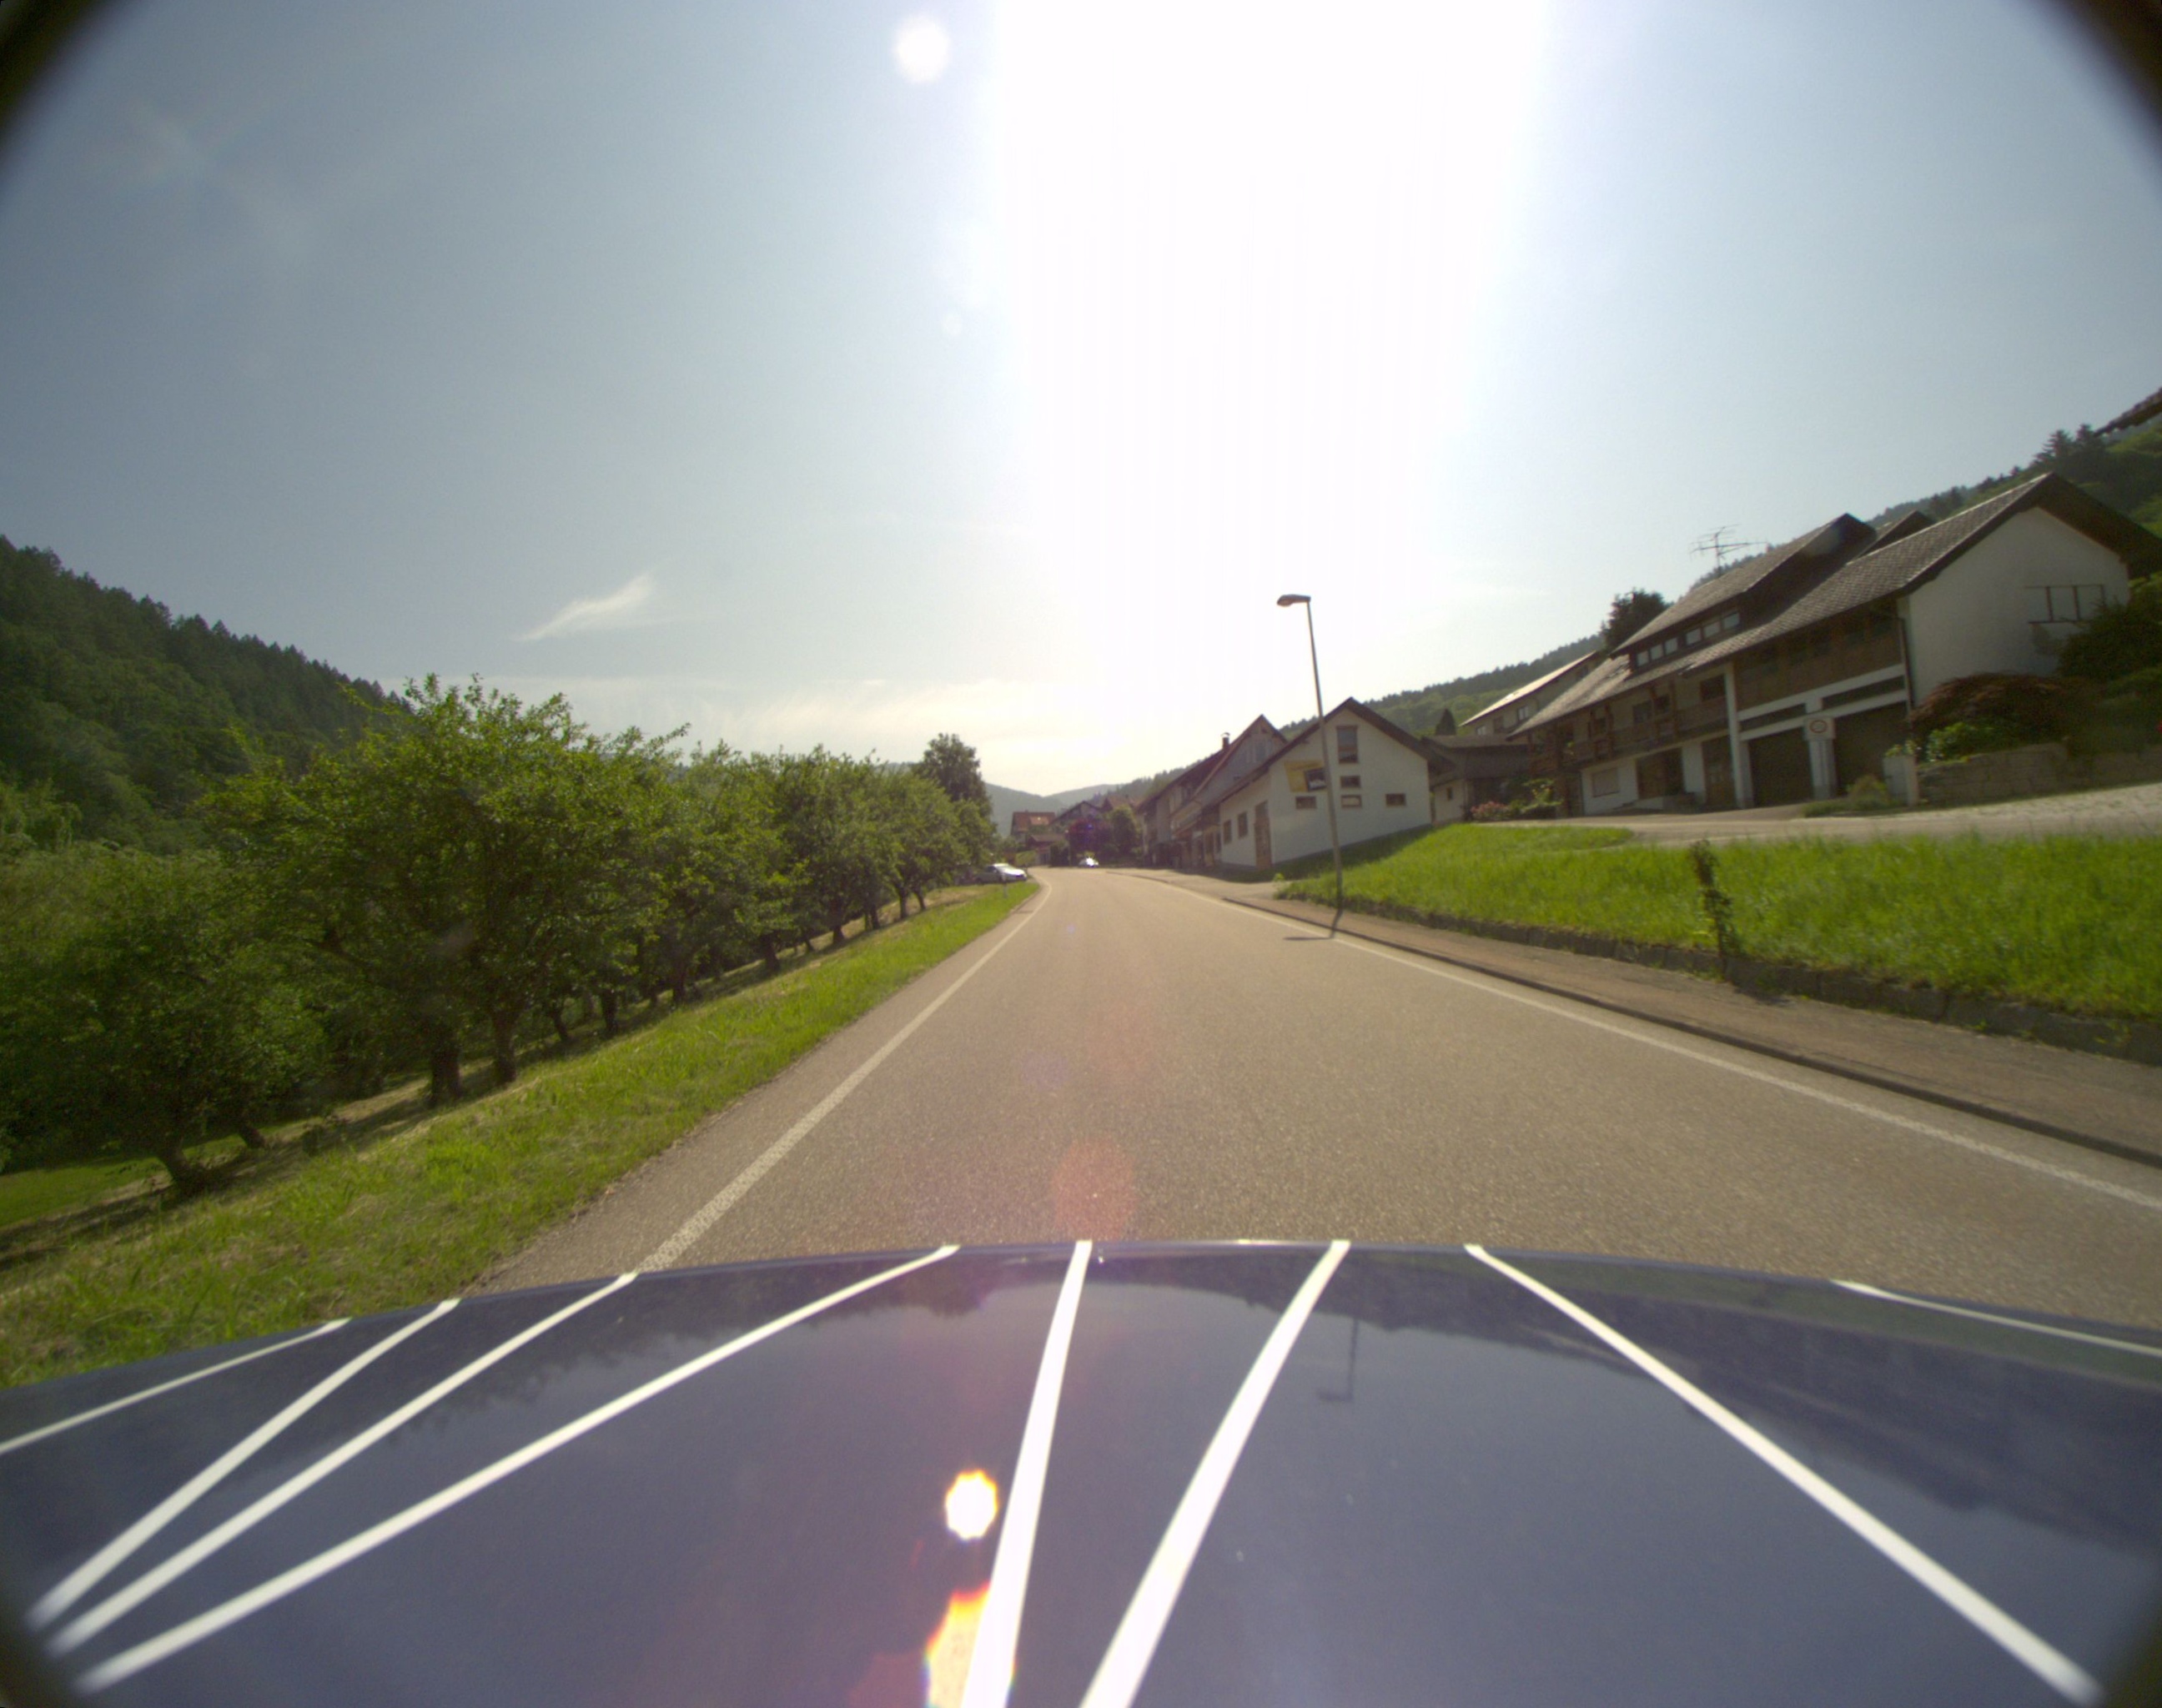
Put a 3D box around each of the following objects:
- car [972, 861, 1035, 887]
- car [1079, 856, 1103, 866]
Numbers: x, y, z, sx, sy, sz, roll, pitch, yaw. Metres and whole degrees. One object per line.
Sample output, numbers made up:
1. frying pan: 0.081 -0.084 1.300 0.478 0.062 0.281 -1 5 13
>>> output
1. car: -5.440 1.409 53.071 1.909 1.561 4.451 -4 -1 -44
2. car: 1.333 0.938 101.837 1.789 1.331 4.689 -2 0 -18
